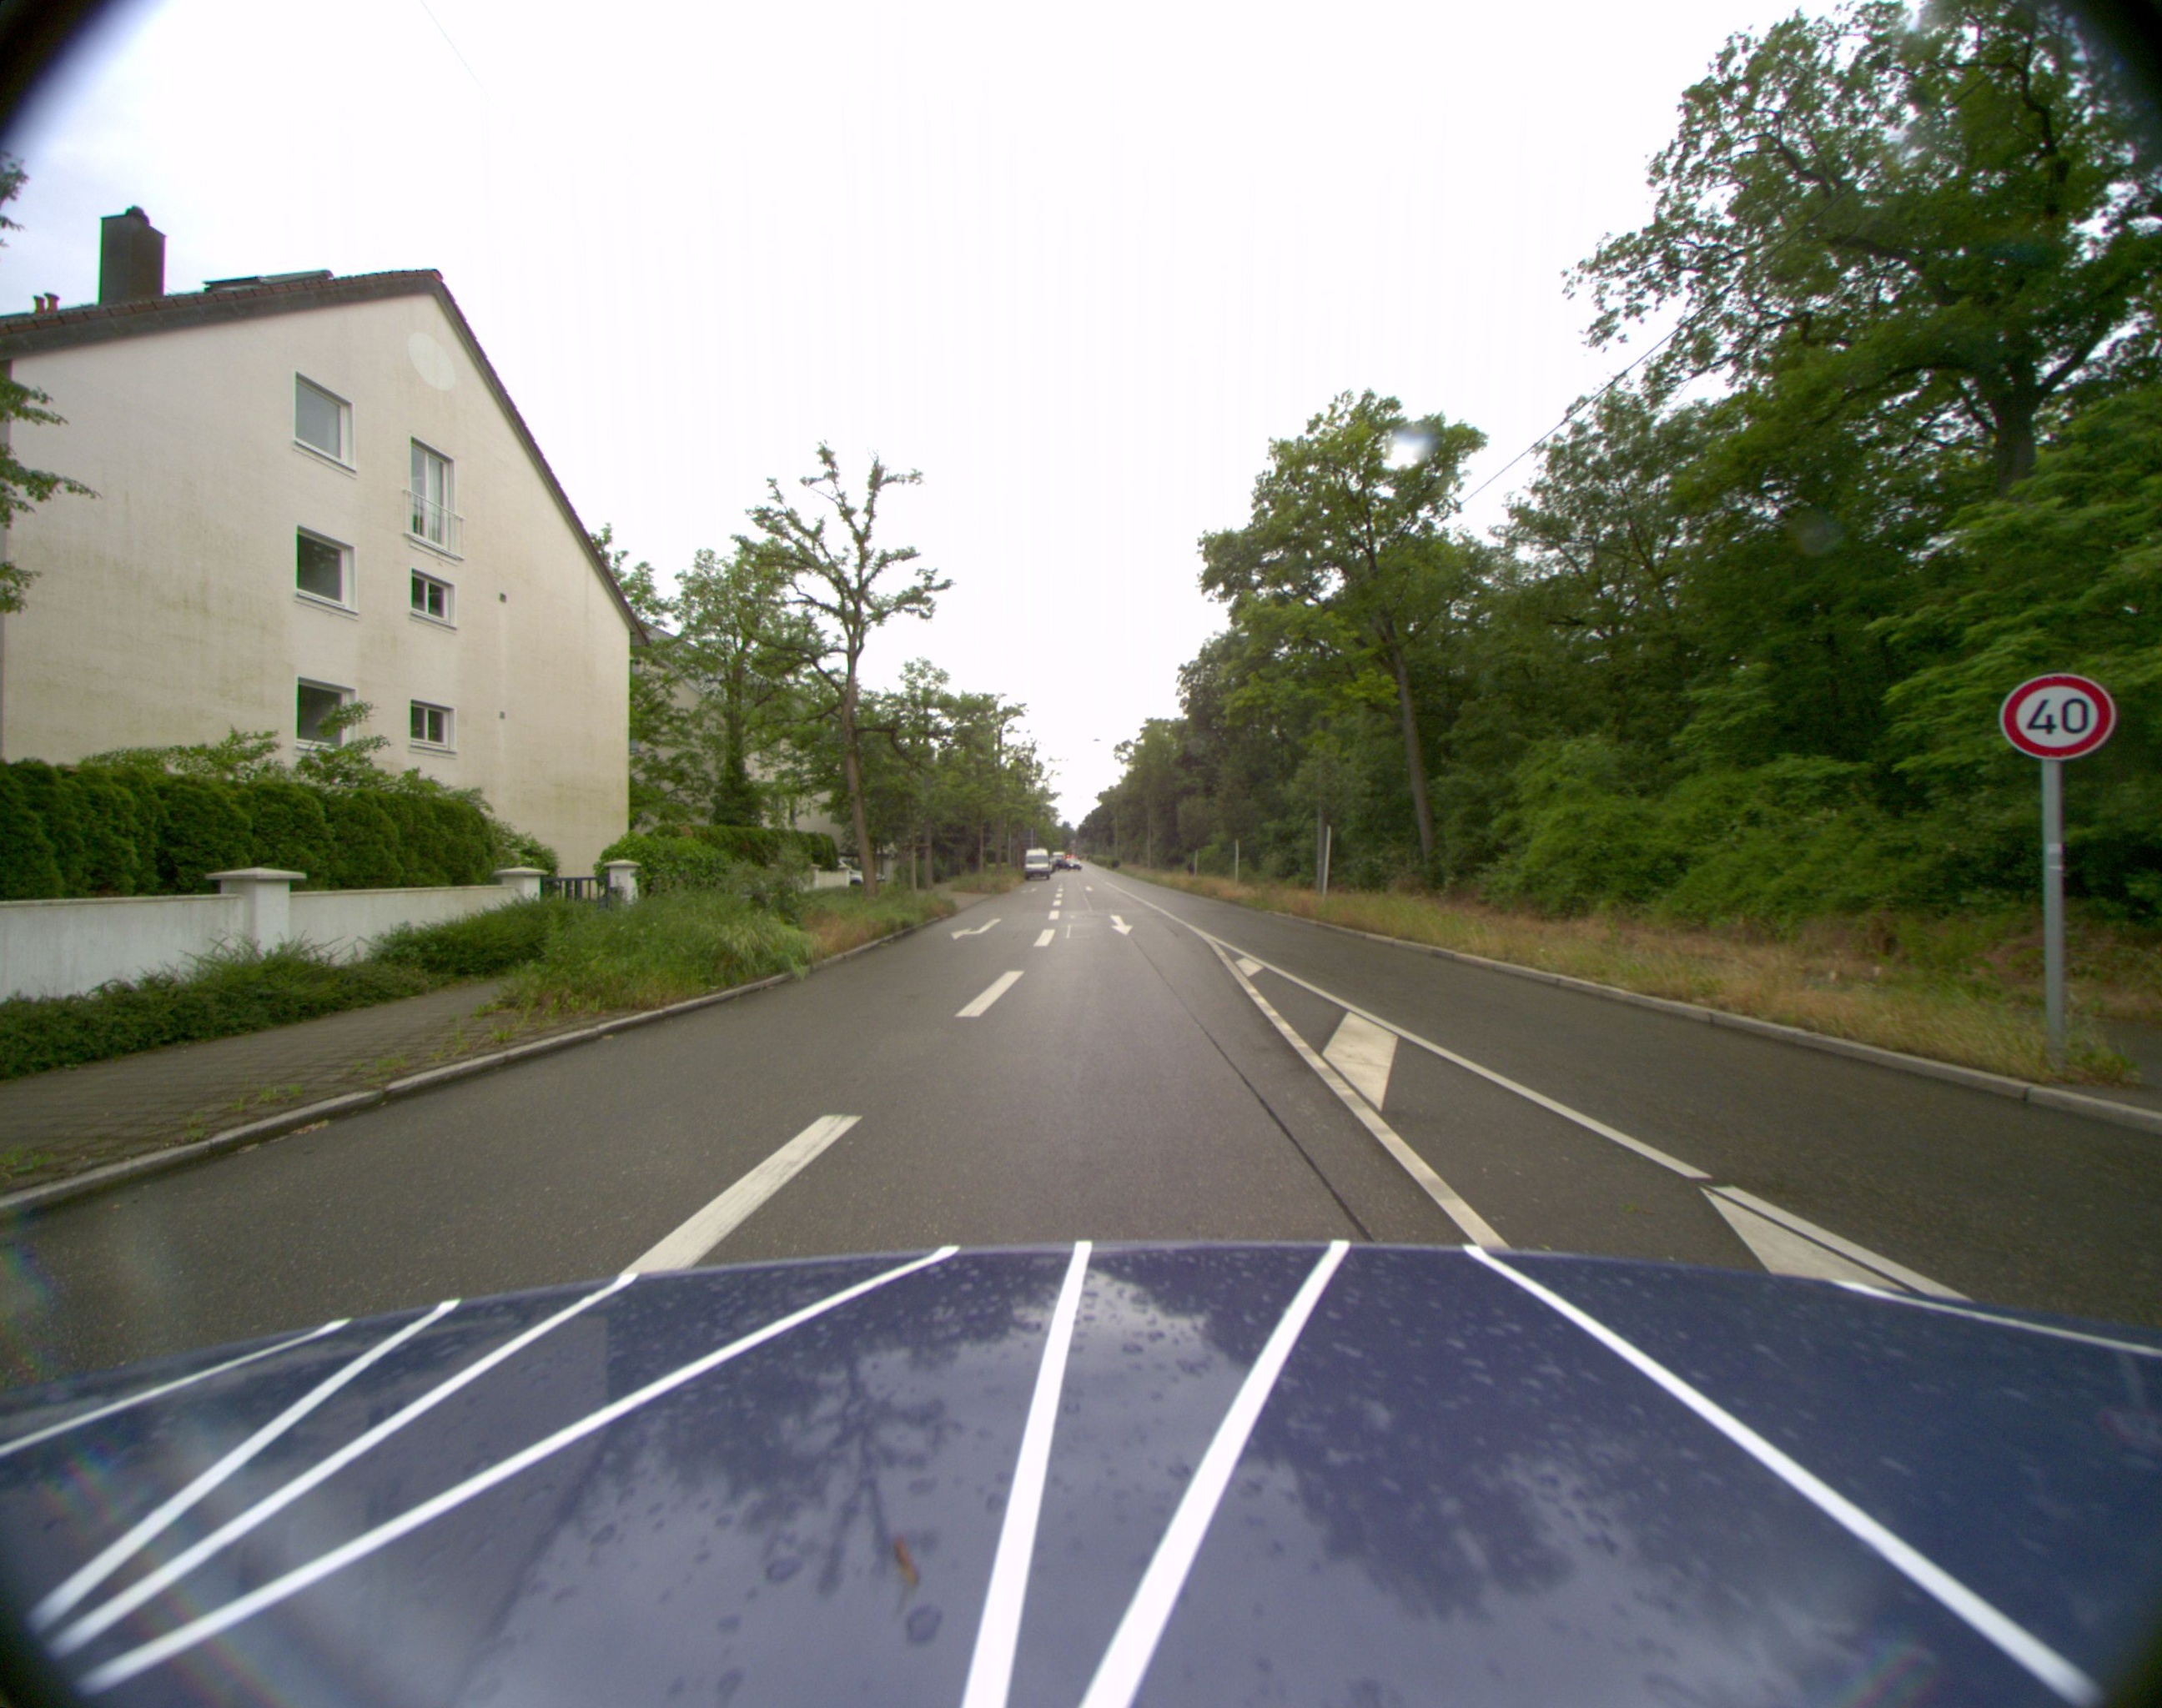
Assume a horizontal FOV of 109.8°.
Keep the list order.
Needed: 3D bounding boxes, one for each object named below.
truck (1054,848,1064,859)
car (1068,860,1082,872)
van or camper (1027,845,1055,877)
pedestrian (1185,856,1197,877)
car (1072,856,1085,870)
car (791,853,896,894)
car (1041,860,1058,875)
[{"bbox_3d":[-5.007,-0.171,173.595,2.230,2.321,5.112,1,0,-2],"label":"truck"},{"bbox_3d":[-0.801,1.501,96.868,1.622,1.459,4.409,-2,0,-2],"label":"car"},{"bbox_3d":[-3.313,0.571,63.626,2.042,2.465,5.637,-3,0,-1],"label":"van or camper"},{"bbox_3d":[8.616,0.951,59.427,0.783,1.598,0.732,0,1,-2],"label":"pedestrian"},{"bbox_3d":[-0.440,1.443,121.303,1.998,2.002,3.999,-1,1,1],"label":"car"},{"bbox_3d":[-11.168,0.923,35.841,4.312,1.807,1.876,-1,0,10],"label":"car"},{"bbox_3d":[-3.355,1.390,81.198,1.576,1.463,3.764,-2,0,-1],"label":"car"}]
